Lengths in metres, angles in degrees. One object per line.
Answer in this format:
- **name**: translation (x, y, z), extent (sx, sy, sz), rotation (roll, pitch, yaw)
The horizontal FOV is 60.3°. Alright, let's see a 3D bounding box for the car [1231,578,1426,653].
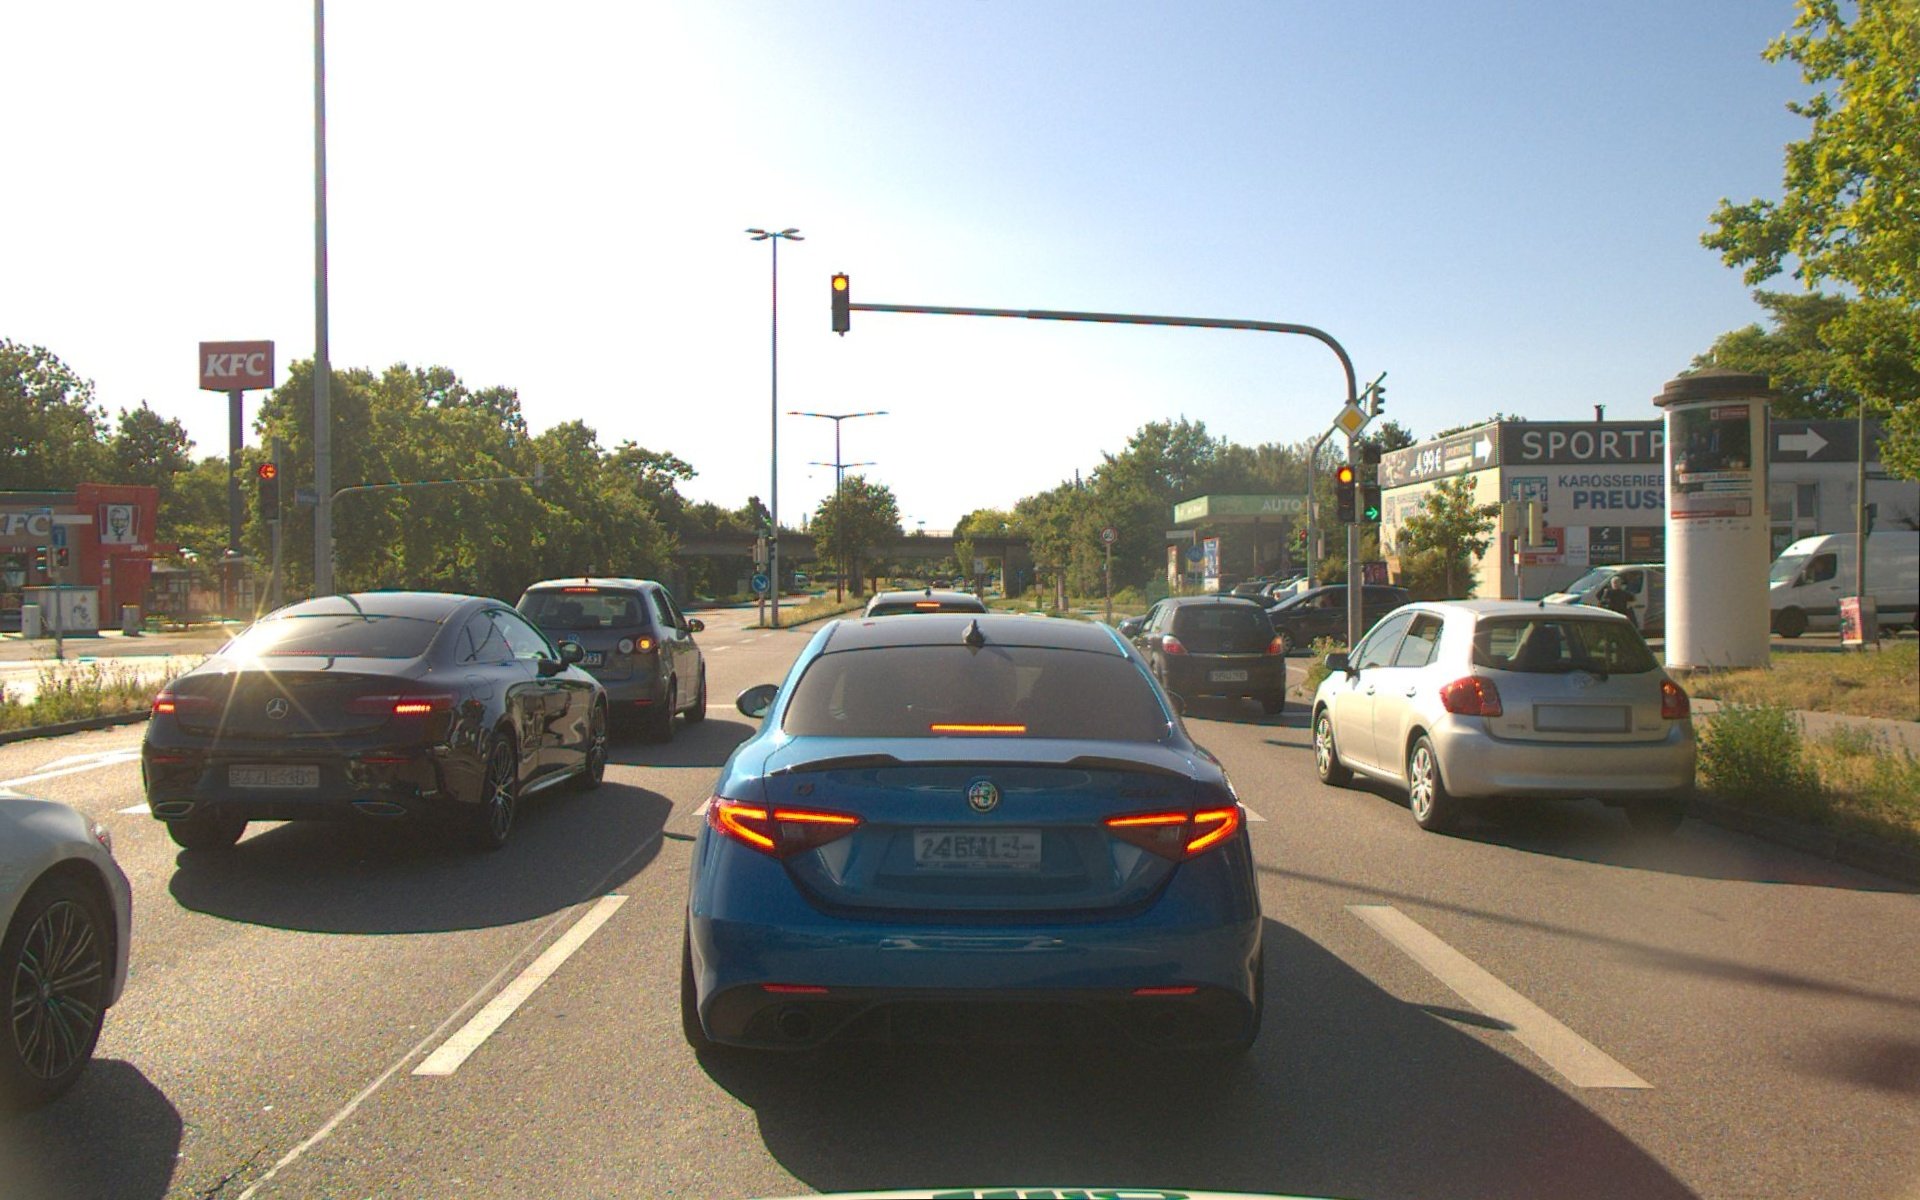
- **car**: translation (8.664, 0.366, 39.124), extent (4.219, 1.678, 1.637), rotation (1, 0, -2)

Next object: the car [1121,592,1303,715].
- **car**: translation (3.267, 0.646, 22.233), extent (1.699, 1.467, 4.370), rotation (1, 0, -1)

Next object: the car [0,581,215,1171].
- **car**: translation (-3.342, 0.710, 3.152), extent (1.775, 1.512, 4.596), rotation (0, 0, 0)

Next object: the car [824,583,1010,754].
- **car**: translation (-0.359, 0.630, 16.915), extent (1.669, 1.523, 3.719), rotation (1, 0, 1)

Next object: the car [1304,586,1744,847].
- **car**: translation (3.873, 0.692, 12.142), extent (1.747, 1.564, 4.107), rotation (1, 0, -1)

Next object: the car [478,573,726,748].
- **car**: translation (-3.591, 0.564, 17.350), extent (1.776, 1.578, 4.351), rotation (1, 0, -2)

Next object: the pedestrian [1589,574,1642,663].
- **pedestrian**: translation (12.665, 0.359, 31.957), extent (0.800, 1.698, 0.514), rotation (1, -1, -1)

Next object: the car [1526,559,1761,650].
- **car**: translation (16.296, 0.109, 39.600), extent (4.854, 2.071, 1.880), rotation (-1, 0, -2)

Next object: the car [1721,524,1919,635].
- **car**: translation (23.090, -0.535, 42.905), extent (5.715, 2.719, 2.000), rotation (-1, -1, 0)

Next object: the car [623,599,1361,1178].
- **car**: translation (0.111, 0.748, 6.104), extent (1.870, 1.447, 3.719), rotation (1, 0, 1)

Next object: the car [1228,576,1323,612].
- **car**: translation (14.251, -0.264, 74.909), extent (3.905, 1.579, 2.000), rotation (1, 0, 0)

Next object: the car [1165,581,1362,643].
- **car**: translation (7.813, 0.307, 42.830), extent (4.722, 1.493, 1.758), rotation (1, 0, -3)

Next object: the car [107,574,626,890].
- **car**: translation (-3.444, 0.655, 10.605), extent (1.775, 1.578, 4.542), rotation (1, 0, -1)
